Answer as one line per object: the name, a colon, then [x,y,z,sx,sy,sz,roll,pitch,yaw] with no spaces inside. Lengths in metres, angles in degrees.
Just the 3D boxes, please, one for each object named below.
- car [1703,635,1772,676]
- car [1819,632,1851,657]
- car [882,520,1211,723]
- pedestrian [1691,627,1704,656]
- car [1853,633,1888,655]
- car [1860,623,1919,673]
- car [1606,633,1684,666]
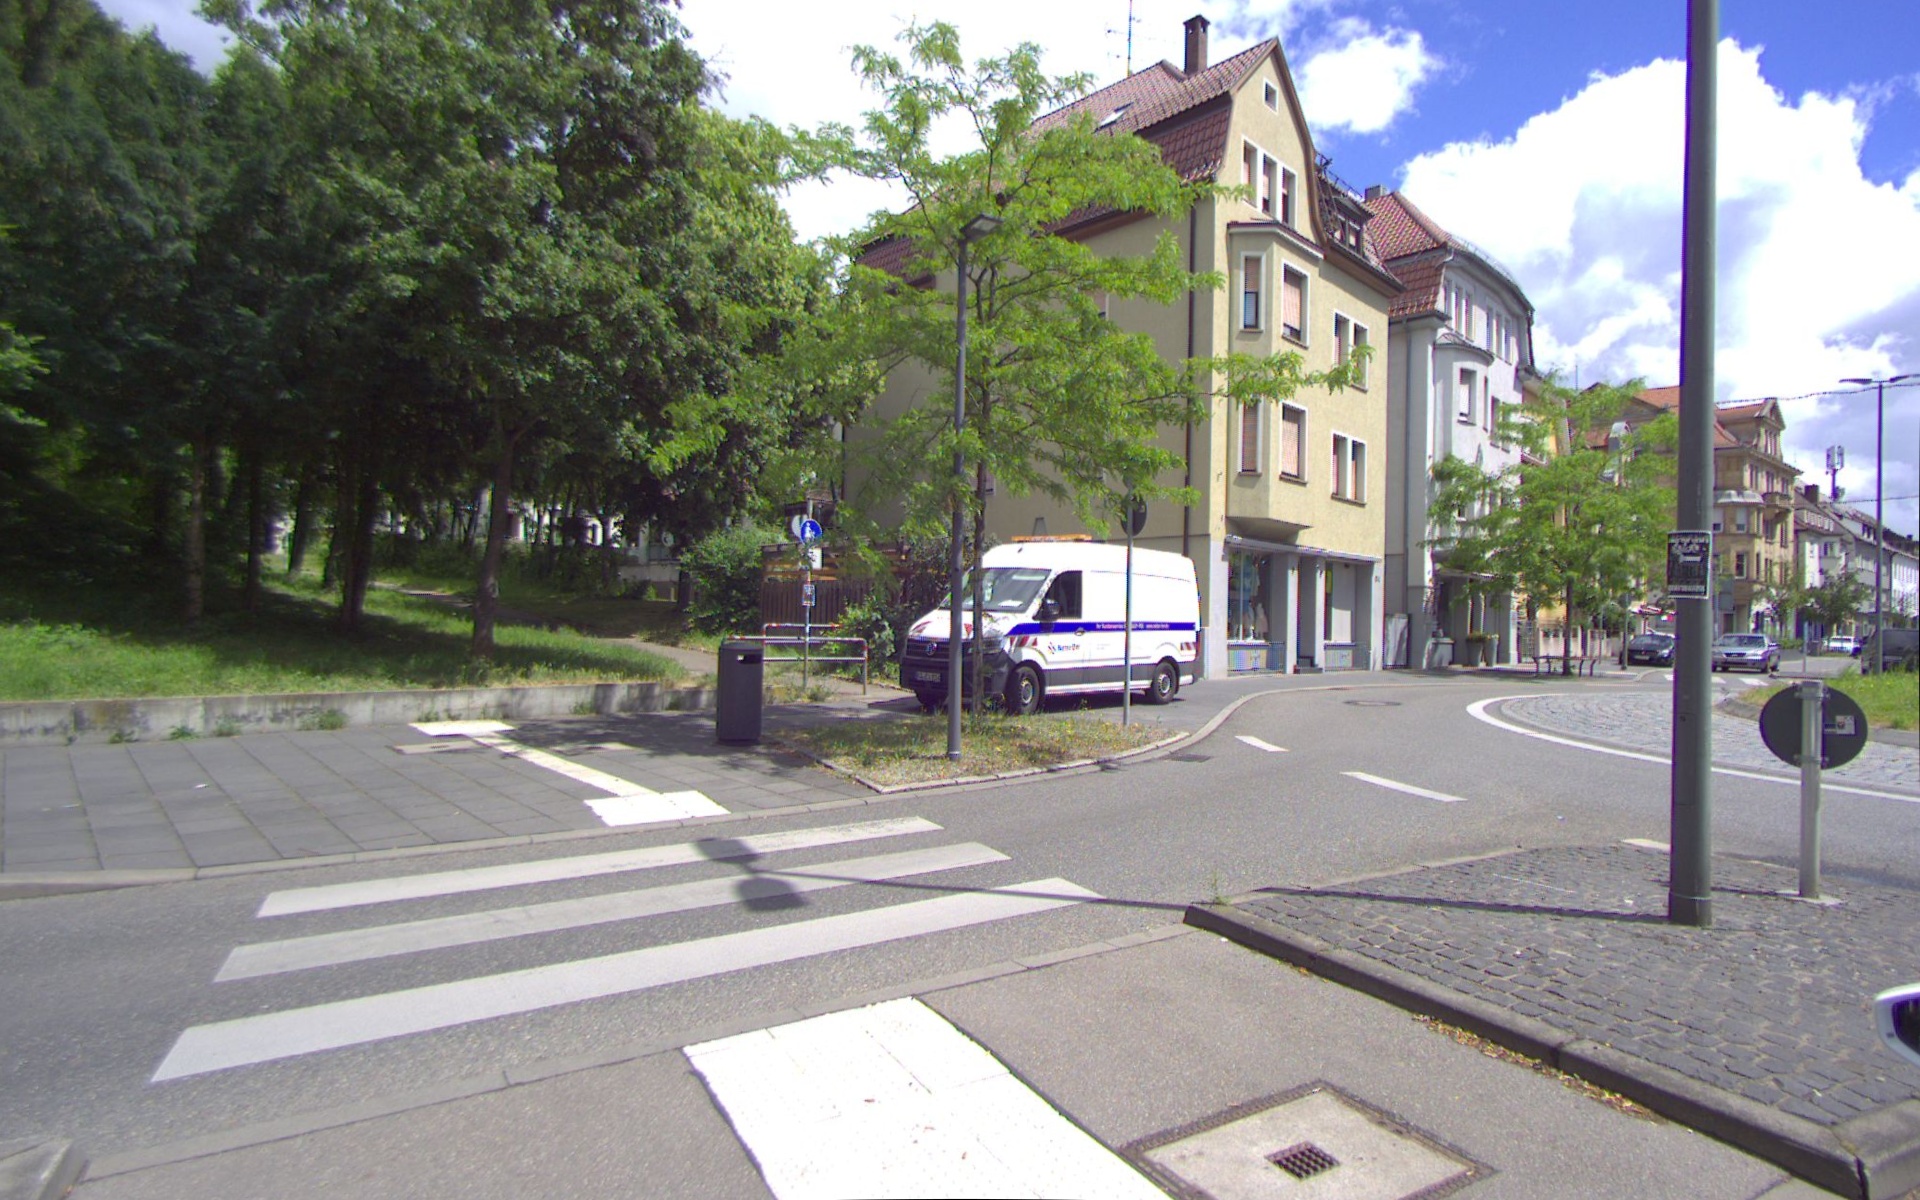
car: [29.413,2.044,37.953,1.691,1.372,3.977,1,0,43]
car: [65.455,3.323,75.129,1.691,1.735,3.977,1,0,43]
car: [1.612,0.321,15.863,1.946,2.641,5.898,2,0,42]
pedestrian: [44.348,2.500,60.416,0.545,1.708,0.513,1,0,44]
car: [61.907,2.952,68.293,1.691,1.372,3.977,1,0,43]
car: [36.084,1.836,38.779,1.803,1.729,4.418,3,0,41]
car: [28.529,2.016,41.782,4.378,1.262,1.694,2,0,-42]
